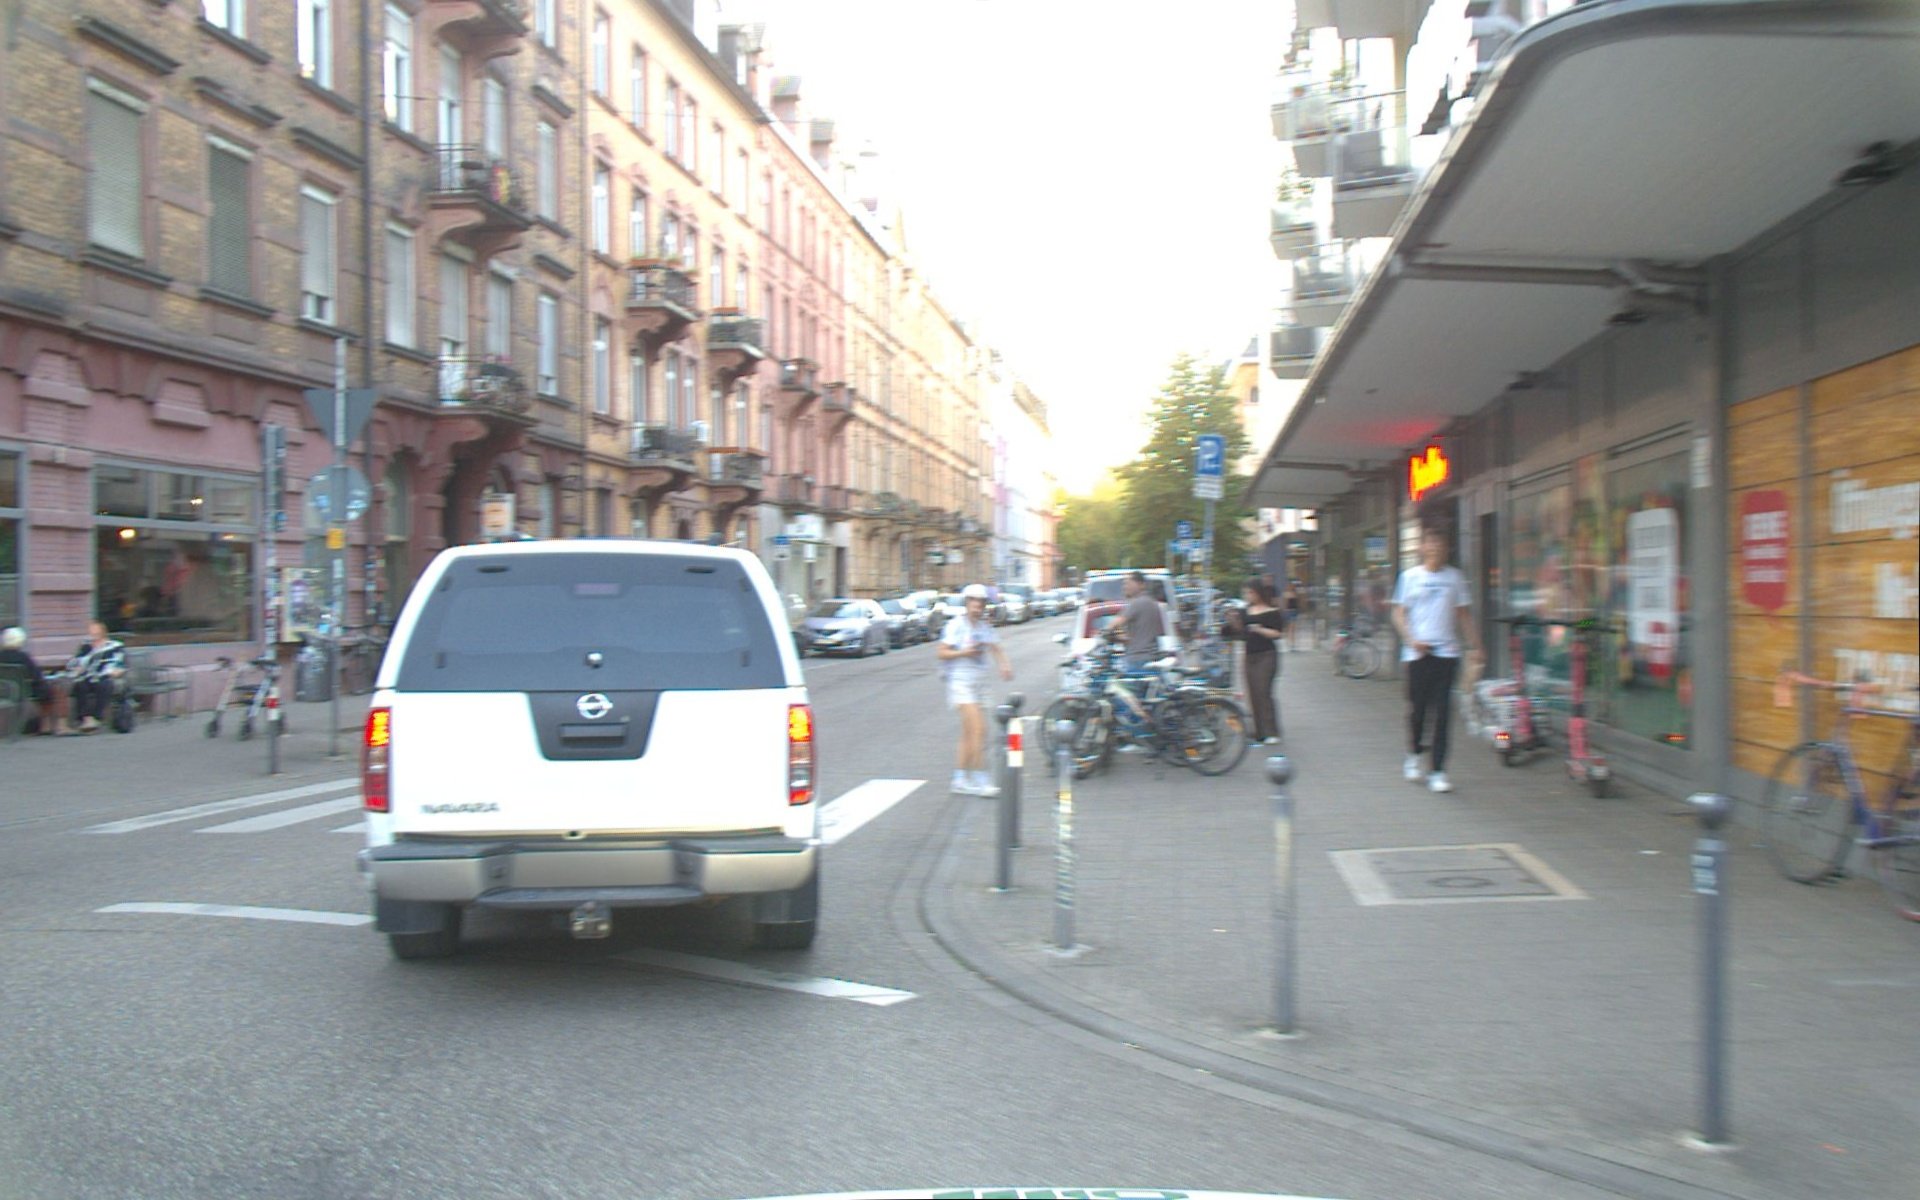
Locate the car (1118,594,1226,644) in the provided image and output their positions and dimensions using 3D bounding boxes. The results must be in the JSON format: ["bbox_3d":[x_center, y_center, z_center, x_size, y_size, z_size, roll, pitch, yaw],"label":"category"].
[{"bbox_3d":[7.846,0.690,61.285,3.902,1.780,1.842,1,0,7],"label":"car"}]

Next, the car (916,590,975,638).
[{"bbox_3d":[-0.528,0.549,64.474,1.795,1.780,4.003,1,0,7],"label":"car"}]

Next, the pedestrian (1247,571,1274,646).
[{"bbox_3d":[7.460,0.202,41.025,0.613,1.842,0.790,1,0,11],"label":"pedestrian"}]

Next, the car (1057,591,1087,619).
[{"bbox_3d":[7.548,0.347,110.988,1.795,1.780,4.003,1,0,7],"label":"car"}]

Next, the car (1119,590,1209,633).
[{"bbox_3d":[9.045,0.502,73.449,3.902,1.780,1.842,1,0,7],"label":"car"}]

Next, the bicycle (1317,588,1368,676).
[{"bbox_3d":[6.429,0.520,27.888,0.544,1.432,2.096,1,0,5],"label":"bicycle"}]

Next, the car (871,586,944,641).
[{"bbox_3d":[-1.677,0.440,54.346,1.795,1.708,4.040,1,0,7],"label":"car"}]

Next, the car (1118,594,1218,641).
[{"bbox_3d":[8.298,0.697,66.119,3.902,1.780,1.842,1,0,7],"label":"car"}]

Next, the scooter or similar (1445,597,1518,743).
[{"bbox_3d":[4.970,0.638,15.825,0.430,1.313,1.669,1,0,10],"label":"scooter or similar"}]

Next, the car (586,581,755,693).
[{"bbox_3d":[-4.948,0.601,28.842,1.795,1.780,4.003,1,0,7],"label":"car"}]

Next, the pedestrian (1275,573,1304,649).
[{"bbox_3d":[8.079,0.270,40.564,0.622,1.842,0.484,1,0,20],"label":"pedestrian"}]

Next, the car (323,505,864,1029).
[{"bbox_3d":[-1.745,0.598,8.470,1.903,1.842,4.988,-1,0,-10],"label":"car"}]

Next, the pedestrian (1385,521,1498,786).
[{"bbox_3d":[3.647,0.391,12.573,0.704,1.940,0.703,1,0,8],"label":"pedestrian"}]

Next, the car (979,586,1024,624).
[{"bbox_3d":[2.075,0.258,81.581,1.795,1.780,4.003,1,0,7],"label":"car"}]

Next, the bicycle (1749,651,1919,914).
[{"bbox_3d":[4.125,0.821,7.786,0.283,1.132,0.965,1,0,-5],"label":"bicycle"}]

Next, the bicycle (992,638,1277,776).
[{"bbox_3d":[1.527,0.935,14.648,2.410,1.056,0.617,-3,0,2],"label":"bicycle"}]

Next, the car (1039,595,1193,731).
[{"bbox_3d":[2.079,0.741,21.551,1.795,1.568,4.003,1,0,7],"label":"car"}]

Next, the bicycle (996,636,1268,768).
[{"bbox_3d":[1.575,0.936,15.318,2.410,1.056,0.617,-3,0,2],"label":"bicycle"}]

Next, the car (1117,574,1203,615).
[{"bbox_3d":[9.232,-0.249,76.451,3.902,1.780,1.842,1,0,7],"label":"car"}]

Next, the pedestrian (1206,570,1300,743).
[{"bbox_3d":[2.966,0.555,16.725,0.707,1.692,0.701,1,0,32],"label":"pedestrian"}]

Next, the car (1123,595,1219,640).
[{"bbox_3d":[8.802,0.705,69.049,3.902,1.780,1.842,1,0,7],"label":"car"}]

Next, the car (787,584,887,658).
[{"bbox_3d":[-3.128,0.526,42.791,1.795,1.780,4.165,1,0,7],"label":"car"}]

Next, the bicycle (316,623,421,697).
[{"bbox_3d":[-9.060,0.893,25.448,0.379,1.054,2.484,1,0,8],"label":"bicycle"}]

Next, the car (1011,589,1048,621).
[{"bbox_3d":[4.047,0.290,95.727,1.795,1.780,4.003,1,0,7],"label":"car"}]

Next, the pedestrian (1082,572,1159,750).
[{"bbox_3d":[1.581,0.585,16.246,0.704,1.692,0.703,1,0,8],"label":"pedestrian"}]

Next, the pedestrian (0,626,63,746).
[{"bbox_3d":[-9.842,0.889,17.264,0.635,1.211,0.540,1,0,4],"label":"pedestrian"}]

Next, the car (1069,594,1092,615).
[{"bbox_3d":[10.478,0.394,143.441,1.795,1.780,4.003,1,0,7],"label":"car"}]

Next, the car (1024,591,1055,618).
[{"bbox_3d":[5.530,0.314,114.824,1.795,1.780,4.003,1,0,7],"label":"car"}]

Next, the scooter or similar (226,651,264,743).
[{"bbox_3d":[-7.916,1.058,18.320,0.229,0.945,1.260,1,0,-17],"label":"scooter or similar"}]

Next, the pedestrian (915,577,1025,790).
[{"bbox_3d":[0.095,0.650,13.387,0.781,1.649,0.945,1,0,5],"label":"pedestrian"}]

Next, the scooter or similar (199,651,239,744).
[{"bbox_3d":[-8.161,1.054,18.236,0.229,0.945,1.260,1,0,-17],"label":"scooter or similar"}]

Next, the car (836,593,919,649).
[{"bbox_3d":[-2.413,0.596,49.348,1.795,1.573,4.040,1,0,7],"label":"car"}]

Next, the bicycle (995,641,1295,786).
[{"bbox_3d":[1.538,0.944,13.960,2.410,1.056,0.617,-3,0,3],"label":"bicycle"}]

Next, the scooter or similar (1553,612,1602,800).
[{"bbox_3d":[4.447,0.737,11.929,0.214,1.259,0.967,1,2,15],"label":"scooter or similar"}]

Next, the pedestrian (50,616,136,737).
[{"bbox_3d":[-9.658,0.843,18.437,0.635,1.308,0.540,1,0,4],"label":"pedestrian"}]

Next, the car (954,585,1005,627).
[{"bbox_3d":[0.900,0.272,73.851,1.795,1.780,4.003,1,0,7],"label":"car"}]

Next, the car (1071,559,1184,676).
[{"bbox_3d":[3.101,0.292,30.281,1.901,1.967,4.003,1,0,7],"label":"car"}]
